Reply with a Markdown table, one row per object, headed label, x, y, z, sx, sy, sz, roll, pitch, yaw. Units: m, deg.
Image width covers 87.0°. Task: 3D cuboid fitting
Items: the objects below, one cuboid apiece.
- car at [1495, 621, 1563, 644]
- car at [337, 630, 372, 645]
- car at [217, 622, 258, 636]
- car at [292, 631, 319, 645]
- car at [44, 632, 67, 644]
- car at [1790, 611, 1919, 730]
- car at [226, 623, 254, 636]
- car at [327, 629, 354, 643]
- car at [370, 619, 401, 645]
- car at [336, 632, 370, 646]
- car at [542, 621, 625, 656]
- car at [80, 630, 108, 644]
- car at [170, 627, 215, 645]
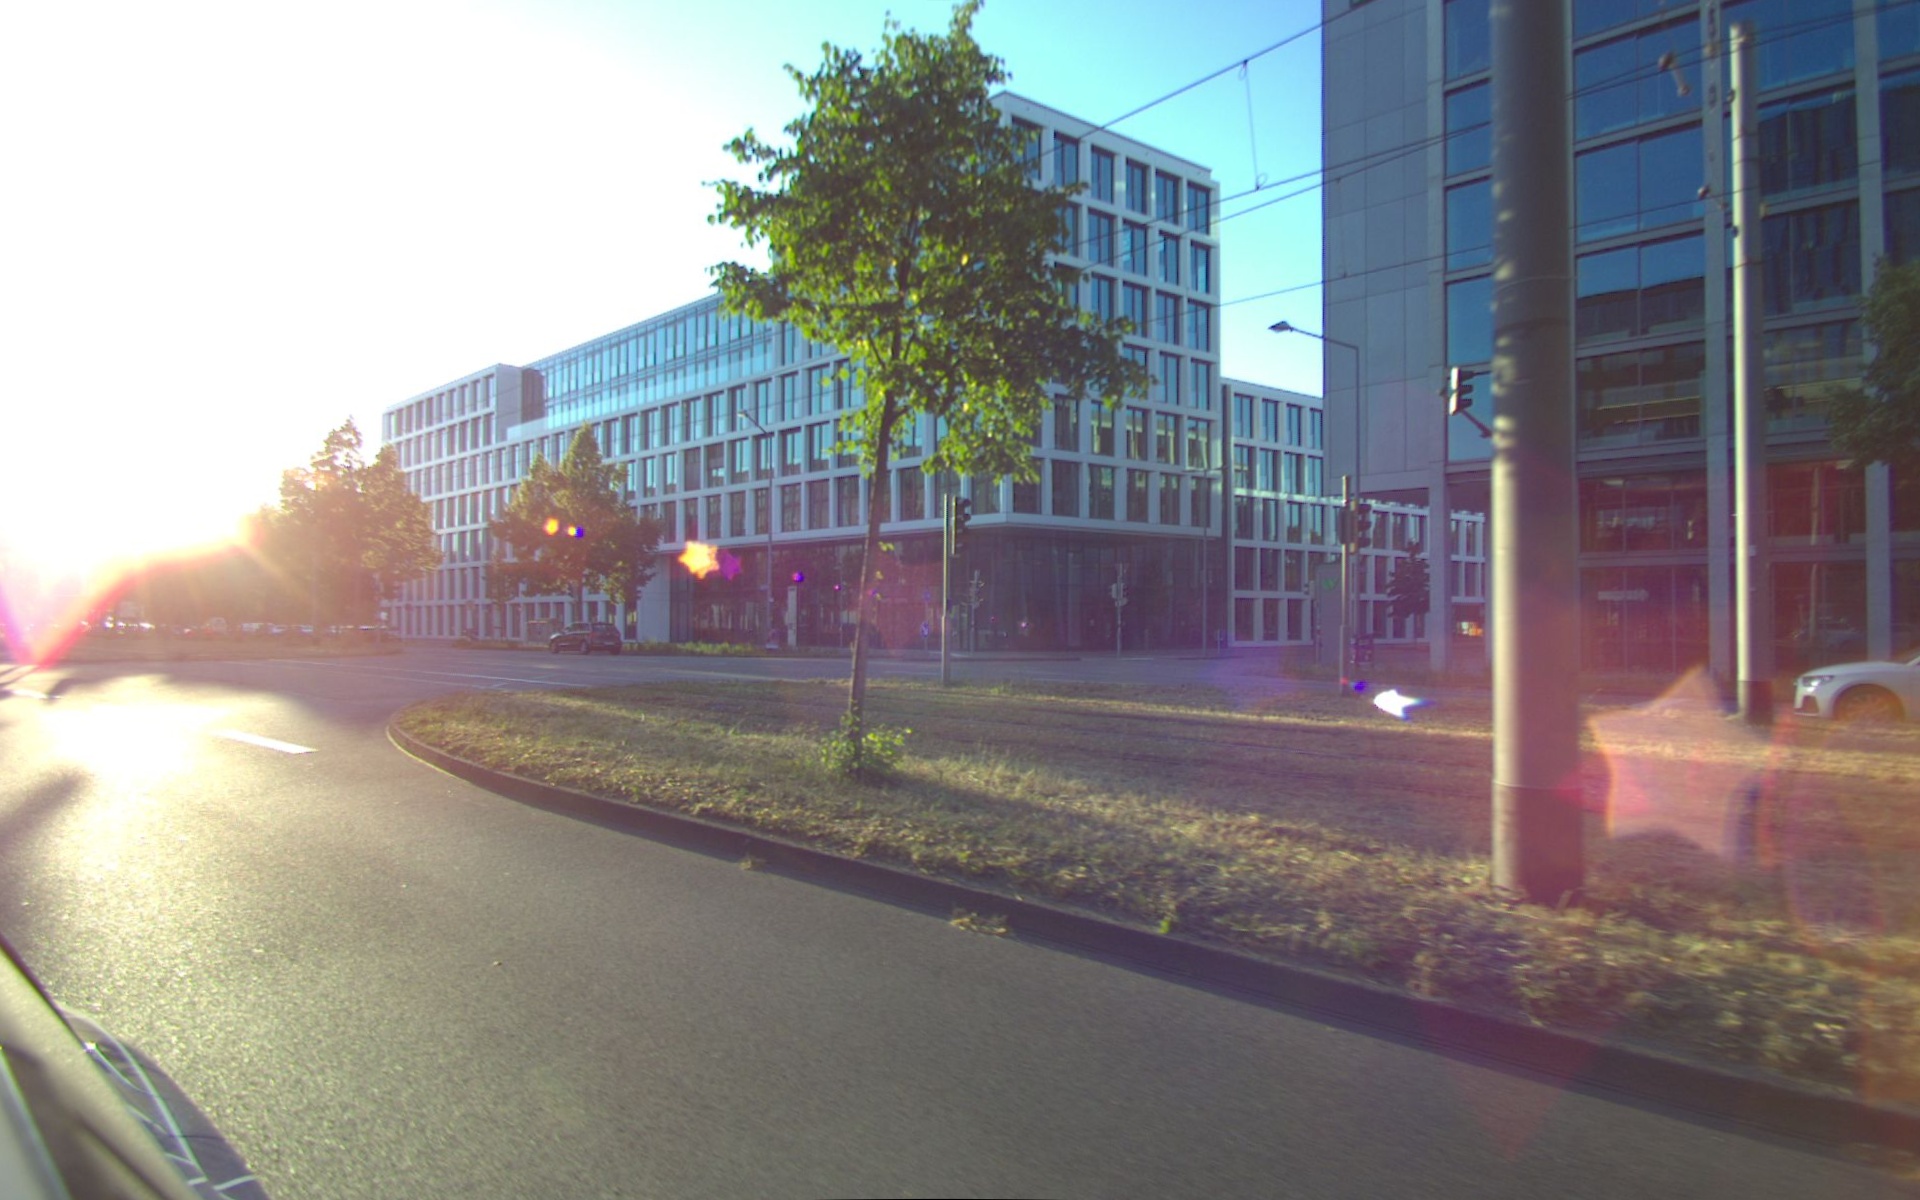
| label | x | y | z | sx | sy | sz | roll | pitch | yaw |
| --- | --- | --- | --- | --- | --- | --- | --- | --- | --- |
| car | 42.686 | 2.438 | 75.984 | 1.970 | 1.677 | 4.004 | 1 | -2 | -43 |
| car | -58.796 | 3.642 | 98.318 | 3.997 | 1.414 | 1.741 | -2 | -2 | 40 |
| car | -93.511 | 3.795 | 131.003 | 1.998 | 1.754 | 4.032 | -2 | -2 | 39 |
| car | -77.354 | 4.480 | 119.547 | 1.969 | 1.604 | 4.340 | 1 | -2 | -42 |
| car | -115.005 | 4.860 | 128.721 | 3.997 | 1.414 | 1.628 | -2 | -2 | 40 |
| car | 13.546 | 0.890 | 12.842 | 4.627 | 1.497 | 1.883 | -1 | -2 | 40 |
| car | -96.117 | 3.951 | 135.056 | 4.608 | 1.754 | 1.973 | -2 | -2 | 41 |
| car | -72.896 | 4.267 | 119.016 | 1.969 | 1.604 | 4.005 | 1 | -2 | -42 |
| car | -70.006 | 3.913 | 123.269 | 2.132 | 3.014 | 5.729 | 1 | -2 | -41 |
| car | -61.161 | 3.919 | 101.888 | 3.997 | 1.414 | 1.741 | -2 | -2 | 40 |
| car | -16.345 | 1.642 | 43.845 | 3.996 | 1.460 | 1.624 | -2 | -2 | 39 |
| car | -92.817 | 3.953 | 108.461 | 3.997 | 1.414 | 1.628 | -2 | -2 | 40 |
| car | -61.811 | 2.875 | 81.475 | 4.896 | 1.445 | 1.973 | -1 | -2 | 41 |
